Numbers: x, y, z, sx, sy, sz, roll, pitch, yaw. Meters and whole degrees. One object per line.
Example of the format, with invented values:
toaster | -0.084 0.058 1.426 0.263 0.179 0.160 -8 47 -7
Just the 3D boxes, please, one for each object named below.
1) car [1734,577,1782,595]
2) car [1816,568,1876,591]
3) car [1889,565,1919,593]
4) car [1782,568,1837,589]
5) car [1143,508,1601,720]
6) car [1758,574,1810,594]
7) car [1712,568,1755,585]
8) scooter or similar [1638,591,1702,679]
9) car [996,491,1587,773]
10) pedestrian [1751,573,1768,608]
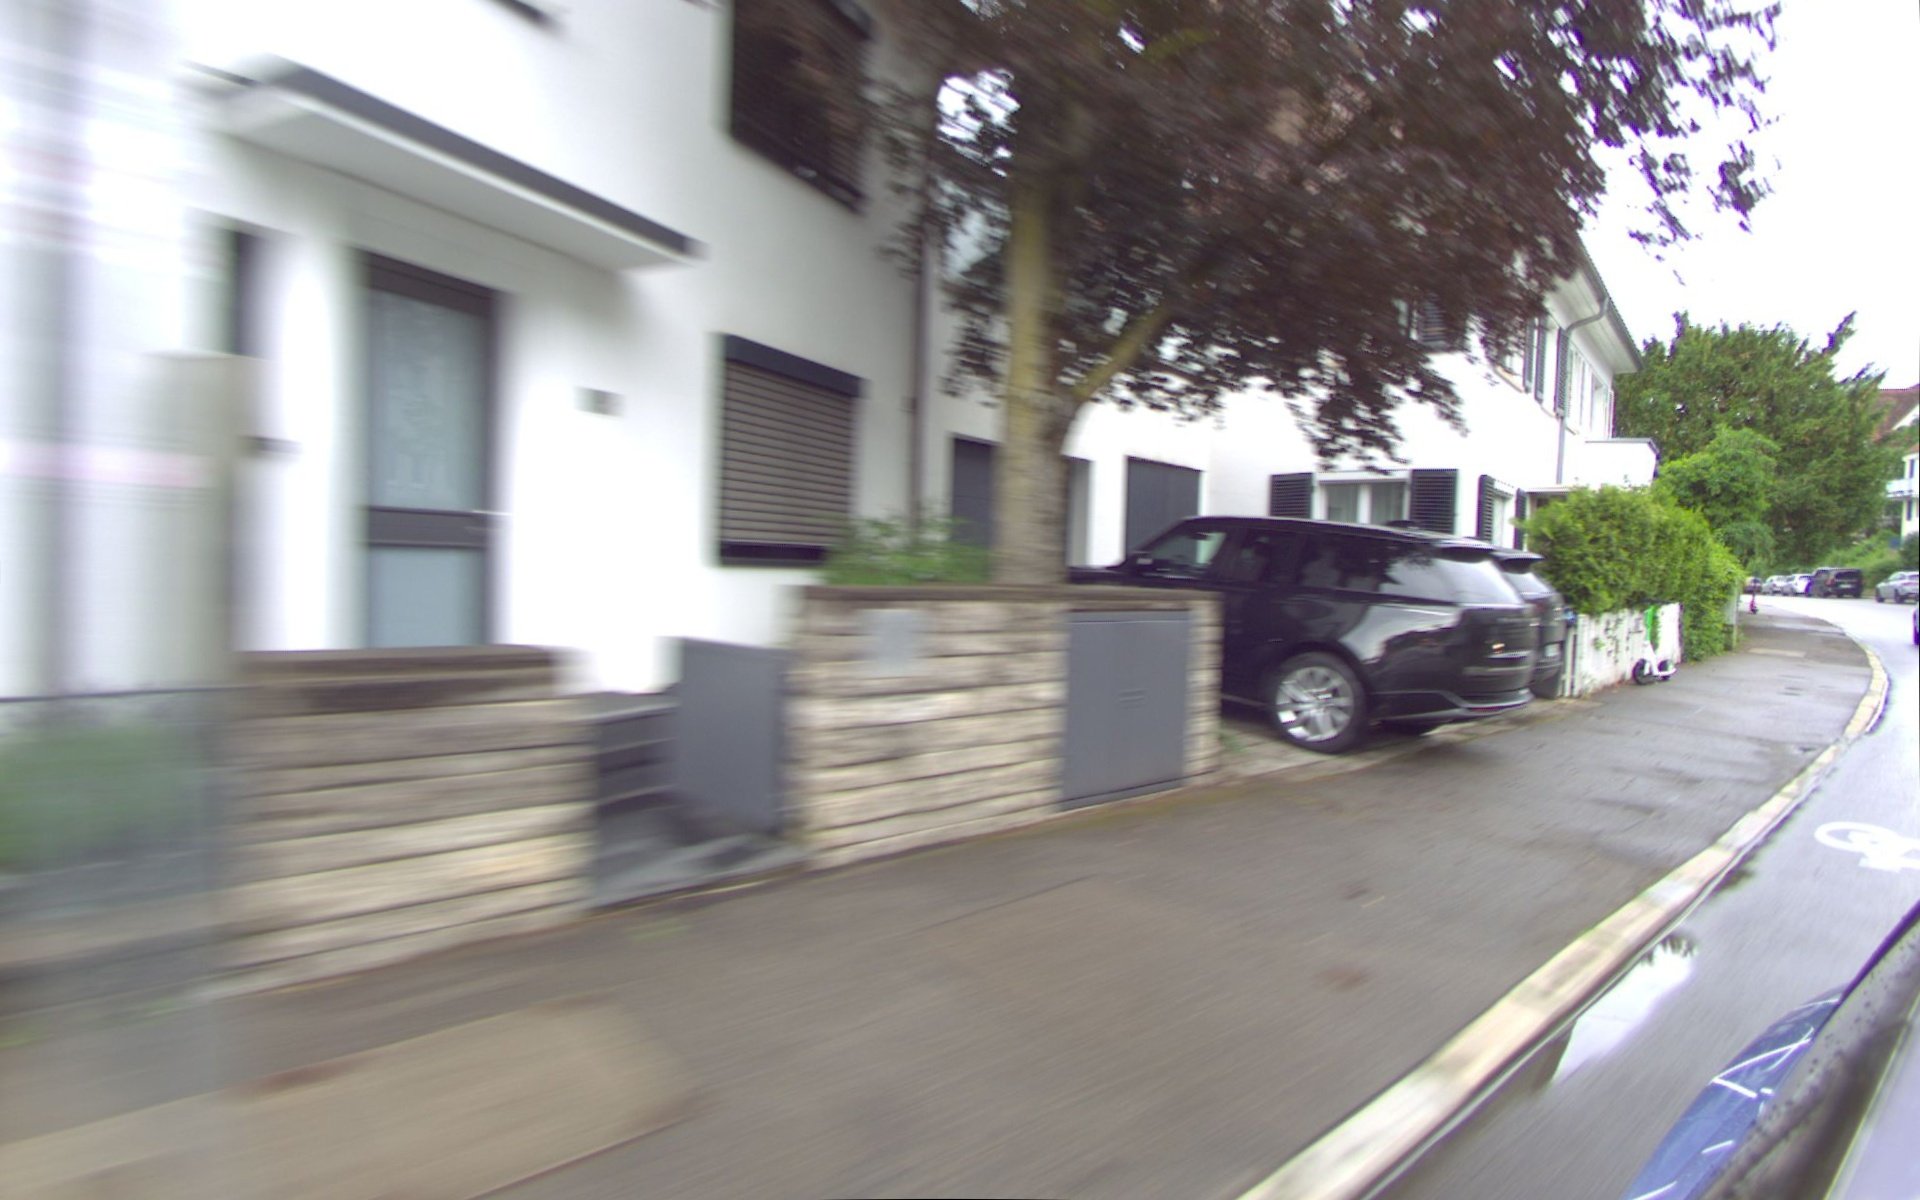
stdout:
car | 63.647 -1.143 80.772 1.660 1.389 4.408 1 1 20
car | 55.081 -1.270 63.004 1.662 1.389 3.854 1 1 24
car | 49.633 -1.061 52.136 1.667 1.389 4.390 1 1 30
car | 58.151 -1.482 69.336 1.662 1.389 4.402 1 1 24
car | 4.592 -0.011 11.783 4.456 1.830 1.911 8 6 44
car | 60.483 -1.203 74.337 1.661 1.389 4.405 1 1 21
car | 65.653 -1.972 85.979 1.660 1.389 4.408 1 1 20
scooter or similar | 9.819 0.460 13.989 1.254 1.145 0.447 0 3 -43
car | 2.713 0.035 9.303 1.909 1.830 4.741 0 6 -43
pedestrian | 28.806 -0.346 36.476 0.425 1.261 0.311 3 2 37
